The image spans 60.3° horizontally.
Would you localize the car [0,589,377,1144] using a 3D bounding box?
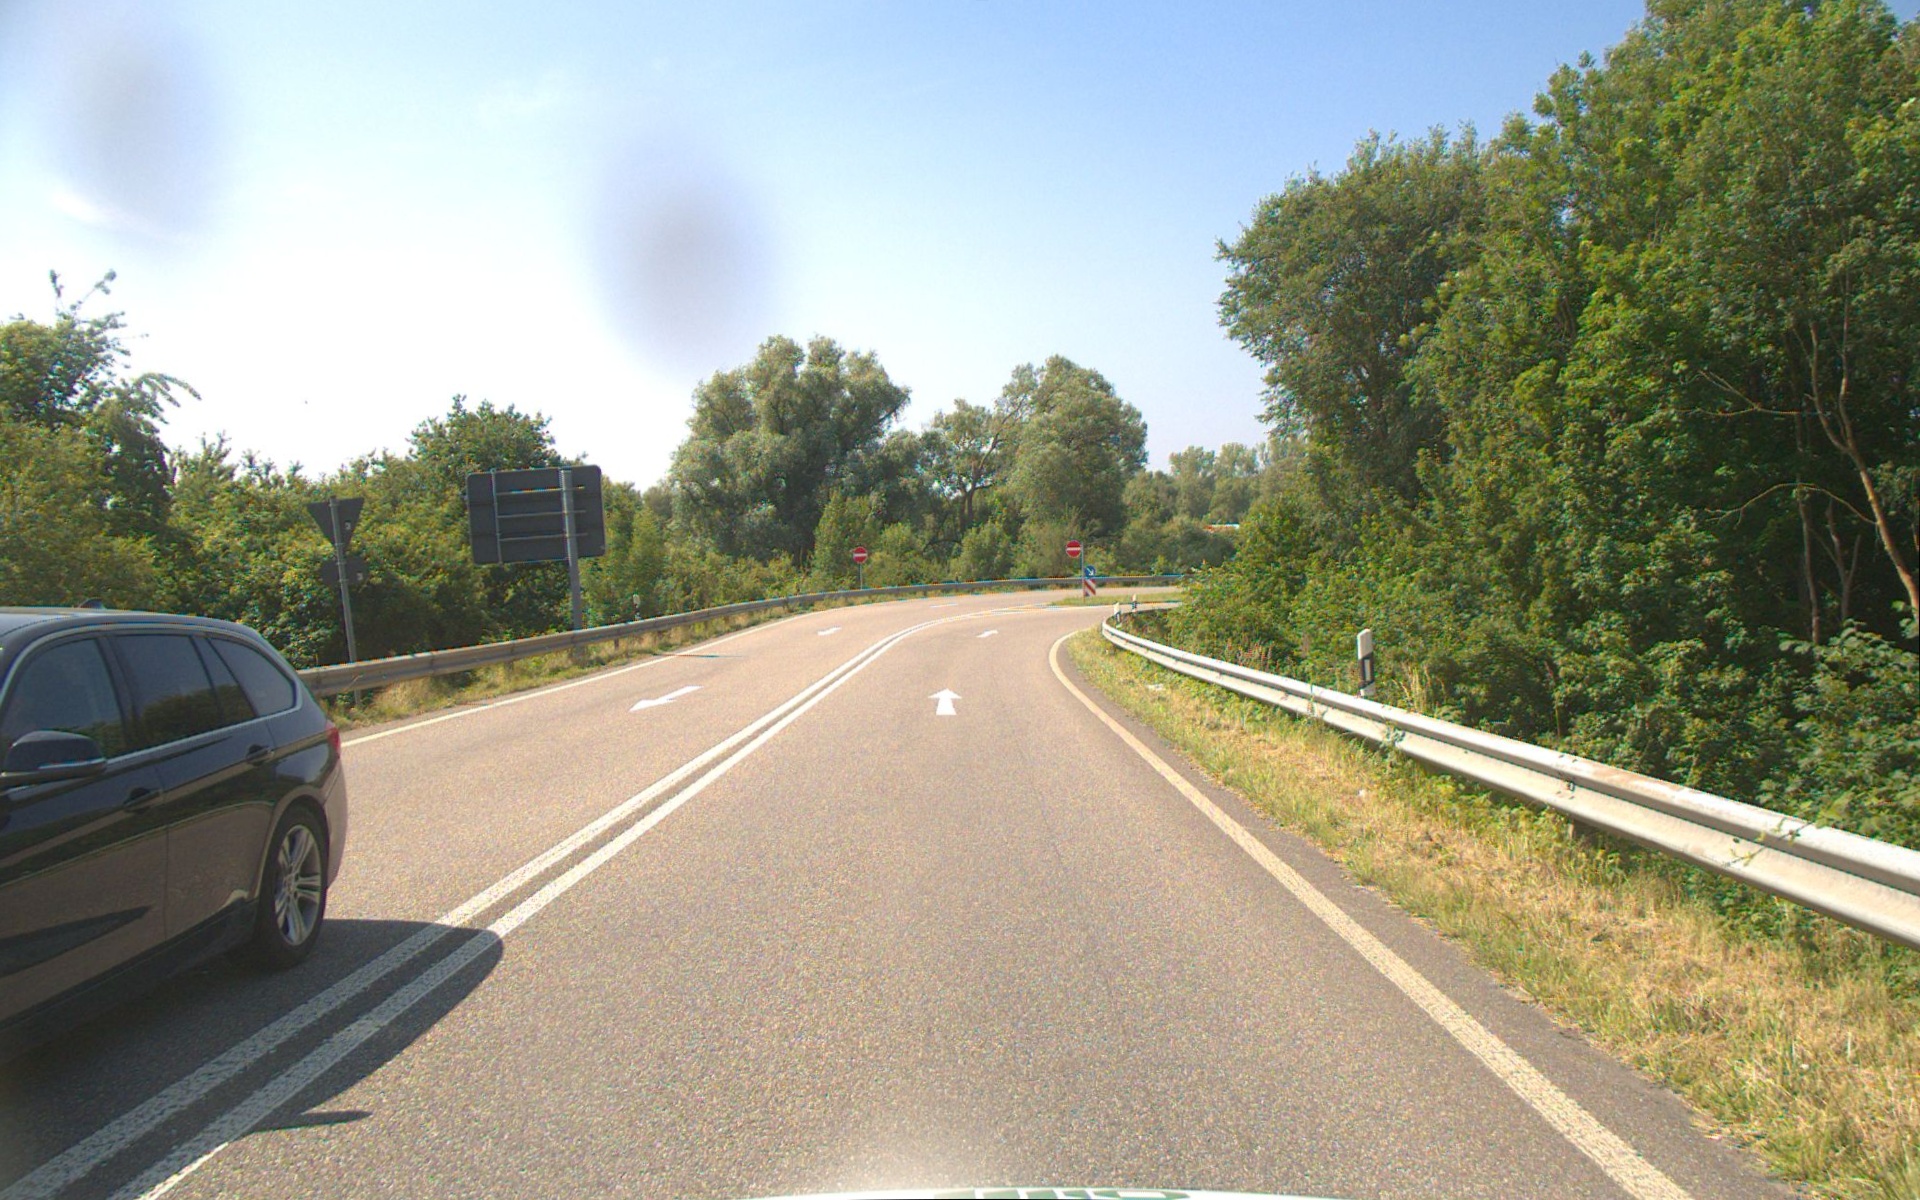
[{"bbox_3d":[-3.388,0.728,5.200,1.574,1.498,4.220,-1,0,0],"label":"car"}]
